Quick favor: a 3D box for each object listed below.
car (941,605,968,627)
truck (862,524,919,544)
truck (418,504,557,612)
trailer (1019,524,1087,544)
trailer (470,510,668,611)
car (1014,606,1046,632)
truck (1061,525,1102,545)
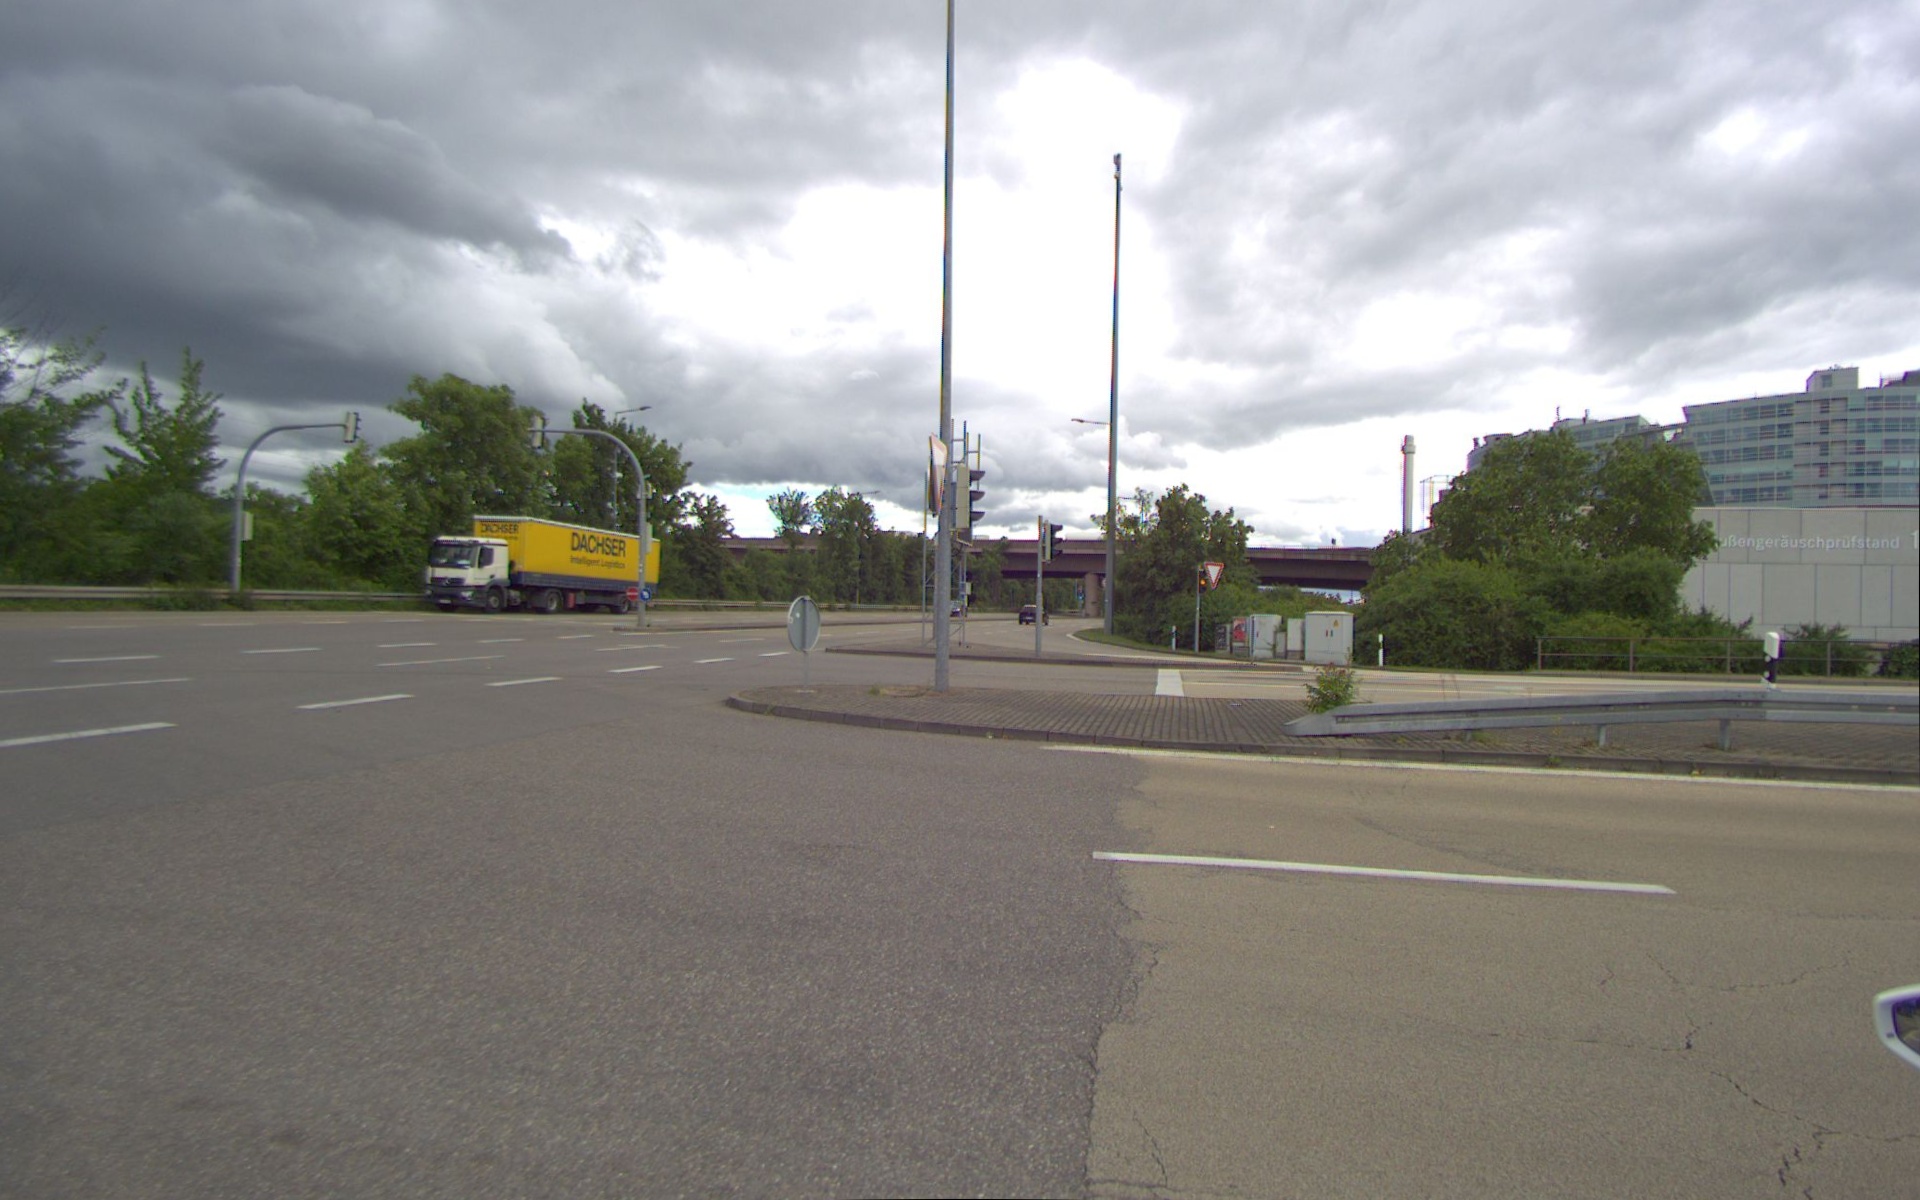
[{"bbox_3d":[-0.480,1.464,92.992,1.596,1.684,4.126,4,3,12],"label":"car"},{"bbox_3d":[-12.590,-11.861,181.504,10.681,3.285,2.282,2,0,29],"label":"truck"},{"bbox_3d":[-19.858,-1.683,42.554,2.582,4.260,5.105,2,0,14],"label":"truck"},{"bbox_3d":[14.841,-10.683,161.507,10.914,3.010,2.380,3,3,31],"label":"trailer"},{"bbox_3d":[-18.387,-1.645,48.552,2.582,4.260,11.663,2,0,14],"label":"trailer"},{"bbox_3d":[5.221,1.365,74.529,1.890,1.582,4.001,4,3,9],"label":"car"},{"bbox_3d":[19.206,-10.289,158.721,5.835,2.737,2.139,5,3,31],"label":"truck"}]
